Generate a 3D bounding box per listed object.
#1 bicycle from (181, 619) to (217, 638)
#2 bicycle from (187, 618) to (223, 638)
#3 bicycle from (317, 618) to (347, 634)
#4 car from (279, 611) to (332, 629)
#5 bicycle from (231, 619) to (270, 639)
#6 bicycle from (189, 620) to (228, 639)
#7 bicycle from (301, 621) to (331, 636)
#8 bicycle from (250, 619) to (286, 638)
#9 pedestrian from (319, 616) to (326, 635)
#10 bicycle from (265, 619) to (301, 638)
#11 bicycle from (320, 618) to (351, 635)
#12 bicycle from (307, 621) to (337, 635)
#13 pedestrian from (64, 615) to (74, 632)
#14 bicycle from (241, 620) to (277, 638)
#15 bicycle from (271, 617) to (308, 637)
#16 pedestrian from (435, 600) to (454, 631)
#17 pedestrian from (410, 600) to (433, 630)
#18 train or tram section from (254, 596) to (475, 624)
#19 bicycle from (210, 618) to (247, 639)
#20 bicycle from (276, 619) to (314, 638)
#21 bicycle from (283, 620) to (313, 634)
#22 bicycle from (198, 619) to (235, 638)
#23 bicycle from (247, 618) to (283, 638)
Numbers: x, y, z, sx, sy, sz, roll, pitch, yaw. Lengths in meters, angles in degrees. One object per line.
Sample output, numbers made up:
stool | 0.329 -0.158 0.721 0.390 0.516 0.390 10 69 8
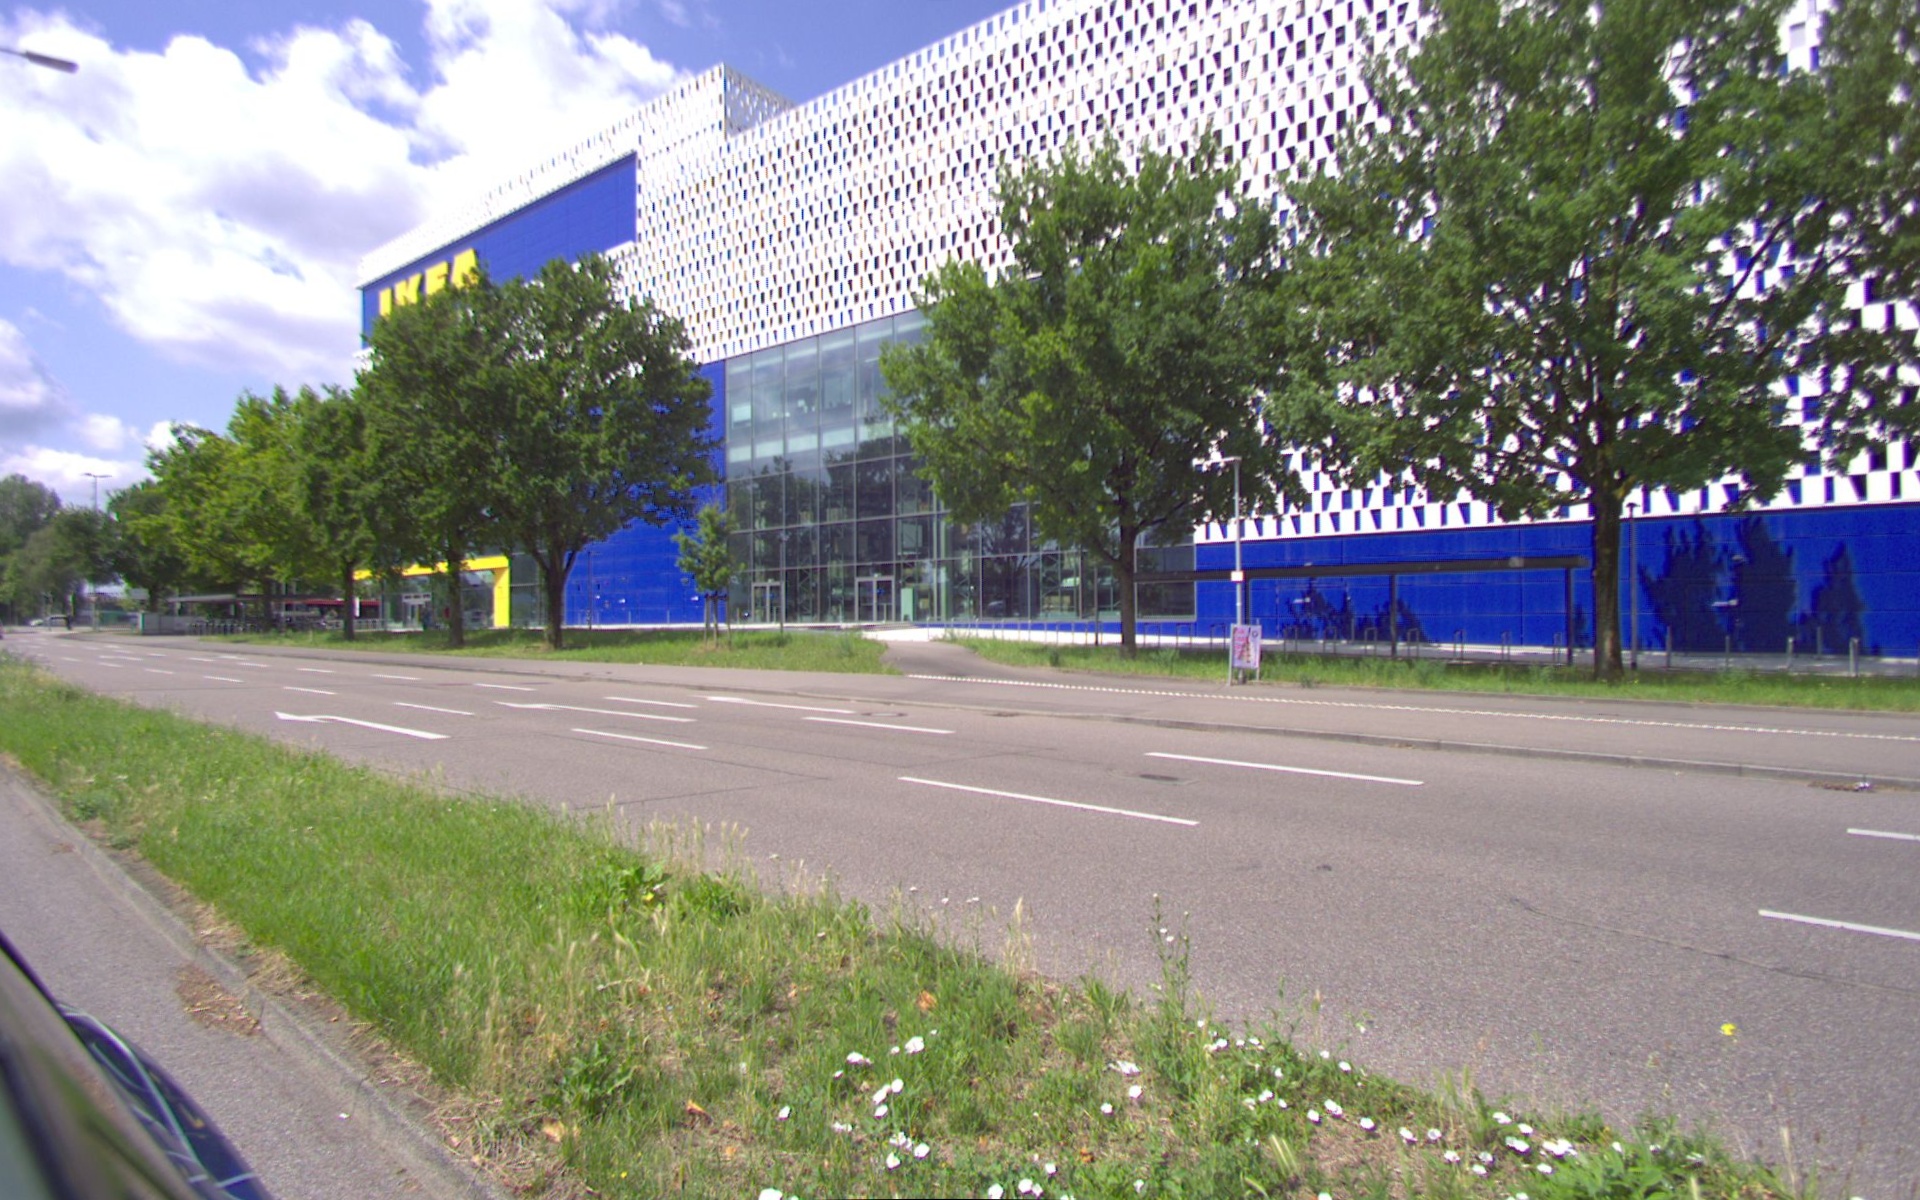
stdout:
bicycle | -53.195 1.993 70.759 0.629 1.282 1.906 -2 -1 39
bicycle | -52.135 1.930 69.933 0.629 1.282 1.906 -2 -1 39
bicycle | -47.708 1.973 76.862 0.528 1.219 1.917 -1 -1 35
car | -75.310 2.311 116.537 1.996 2.029 4.764 -2 -1 36
bicycle | -44.775 1.802 63.860 0.629 1.192 1.906 -2 -1 39
bicycle | -51.360 2.005 69.208 0.629 1.282 2.069 -2 -1 39
bicycle | -49.920 2.175 78.415 0.519 1.098 1.913 -2 -1 35
bicycle | -46.460 1.908 67.965 0.629 1.282 1.906 -2 -1 39
pedestrian | -59.616 2.365 94.646 0.515 1.716 0.405 -2 -1 33
bicycle | -44.295 1.867 66.223 0.629 1.188 1.906 -2 -1 39
bicycle | -47.118 2.018 76.321 0.596 1.253 1.928 -1 -1 35
bicycle | -48.996 2.136 77.688 0.528 1.078 1.917 -1 -1 35
pedestrian | -80.265 2.117 91.172 0.616 1.501 0.435 -1 -1 23
bicycle | -47.973 1.986 69.286 0.629 1.192 1.906 -2 -1 39
bicycle | -43.432 1.744 65.553 0.629 1.282 1.906 -2 -1 39
pedestrian | -30.692 0.936 60.261 0.886 1.836 0.746 -1 0 39
pedestrian | -31.337 0.858 58.898 0.886 1.715 0.941 -1 0 39
train or tram section | -76.138 1.439 131.009 4.524 3.055 24.809 -1 -3 37
bicycle | -48.471 1.888 67.045 0.629 1.282 1.906 -2 -1 39
bicycle | -42.650 1.827 64.927 0.629 1.193 1.906 -2 -1 39
bicycle | -52.240 2.097 79.900 0.528 1.078 1.917 -1 -1 35
bicycle | -50.336 1.918 68.508 0.629 1.282 1.906 -2 -1 39
bicycle | -47.214 1.896 68.768 0.629 1.282 1.906 -2 -1 39
